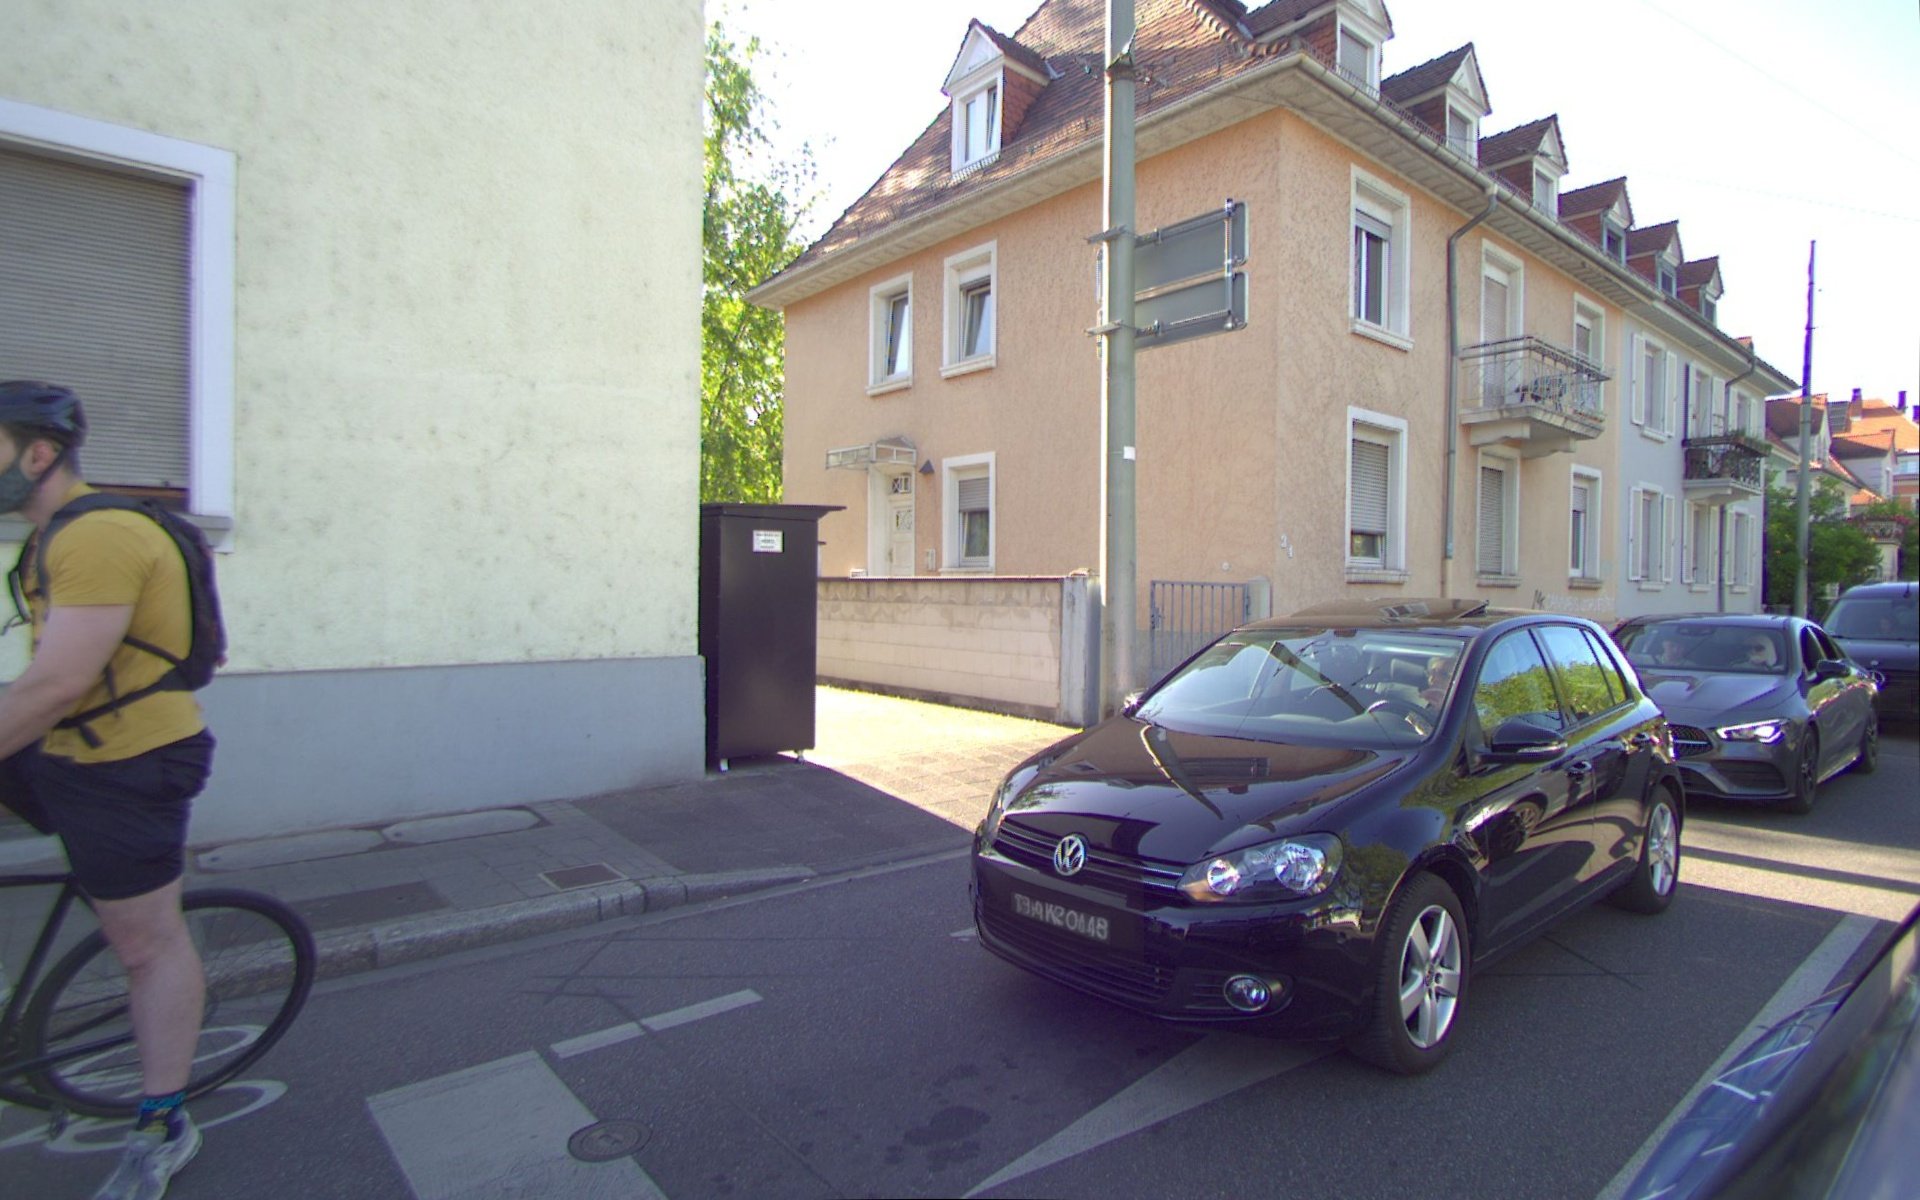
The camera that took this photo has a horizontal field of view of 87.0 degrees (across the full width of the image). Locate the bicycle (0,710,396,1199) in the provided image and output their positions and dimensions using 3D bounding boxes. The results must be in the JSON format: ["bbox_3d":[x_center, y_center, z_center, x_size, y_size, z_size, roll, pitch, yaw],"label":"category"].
[{"bbox_3d":[-2.385,0.883,2.378,1.749,1.044,0.756,-1,0,-40],"label":"bicycle"}]

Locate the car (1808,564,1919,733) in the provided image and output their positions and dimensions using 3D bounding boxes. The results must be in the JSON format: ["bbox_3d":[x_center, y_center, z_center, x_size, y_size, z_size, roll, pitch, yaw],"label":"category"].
[{"bbox_3d":[12.142,0.499,12.487,4.695,1.827,1.864,-1,0,-41],"label":"car"}]

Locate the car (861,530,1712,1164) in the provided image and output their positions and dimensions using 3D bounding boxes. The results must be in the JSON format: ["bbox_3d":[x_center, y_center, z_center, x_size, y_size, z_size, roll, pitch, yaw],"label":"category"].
[{"bbox_3d":[1.704,0.639,4.420,3.979,1.527,1.731,2,-1,-41],"label":"car"}]

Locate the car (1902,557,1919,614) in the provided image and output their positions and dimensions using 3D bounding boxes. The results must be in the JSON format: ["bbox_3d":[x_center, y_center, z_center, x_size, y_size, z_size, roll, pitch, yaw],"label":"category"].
[{"bbox_3d":[26.980,-0.398,27.328,3.930,1.476,1.839,-1,0,-41],"label":"car"}]

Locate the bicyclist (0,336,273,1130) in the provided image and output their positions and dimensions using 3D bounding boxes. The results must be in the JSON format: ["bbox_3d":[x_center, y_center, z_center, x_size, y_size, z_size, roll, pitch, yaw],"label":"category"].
[{"bbox_3d":[-2.260,0.279,2.488,0.868,1.684,0.807,0,0,-40],"label":"bicyclist"}]

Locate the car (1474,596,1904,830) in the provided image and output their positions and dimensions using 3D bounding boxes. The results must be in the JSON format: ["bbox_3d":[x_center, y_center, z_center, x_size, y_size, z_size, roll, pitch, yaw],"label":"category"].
[{"bbox_3d":[6.283,0.701,8.526,4.413,1.437,1.911,-1,1,-40],"label":"car"}]
